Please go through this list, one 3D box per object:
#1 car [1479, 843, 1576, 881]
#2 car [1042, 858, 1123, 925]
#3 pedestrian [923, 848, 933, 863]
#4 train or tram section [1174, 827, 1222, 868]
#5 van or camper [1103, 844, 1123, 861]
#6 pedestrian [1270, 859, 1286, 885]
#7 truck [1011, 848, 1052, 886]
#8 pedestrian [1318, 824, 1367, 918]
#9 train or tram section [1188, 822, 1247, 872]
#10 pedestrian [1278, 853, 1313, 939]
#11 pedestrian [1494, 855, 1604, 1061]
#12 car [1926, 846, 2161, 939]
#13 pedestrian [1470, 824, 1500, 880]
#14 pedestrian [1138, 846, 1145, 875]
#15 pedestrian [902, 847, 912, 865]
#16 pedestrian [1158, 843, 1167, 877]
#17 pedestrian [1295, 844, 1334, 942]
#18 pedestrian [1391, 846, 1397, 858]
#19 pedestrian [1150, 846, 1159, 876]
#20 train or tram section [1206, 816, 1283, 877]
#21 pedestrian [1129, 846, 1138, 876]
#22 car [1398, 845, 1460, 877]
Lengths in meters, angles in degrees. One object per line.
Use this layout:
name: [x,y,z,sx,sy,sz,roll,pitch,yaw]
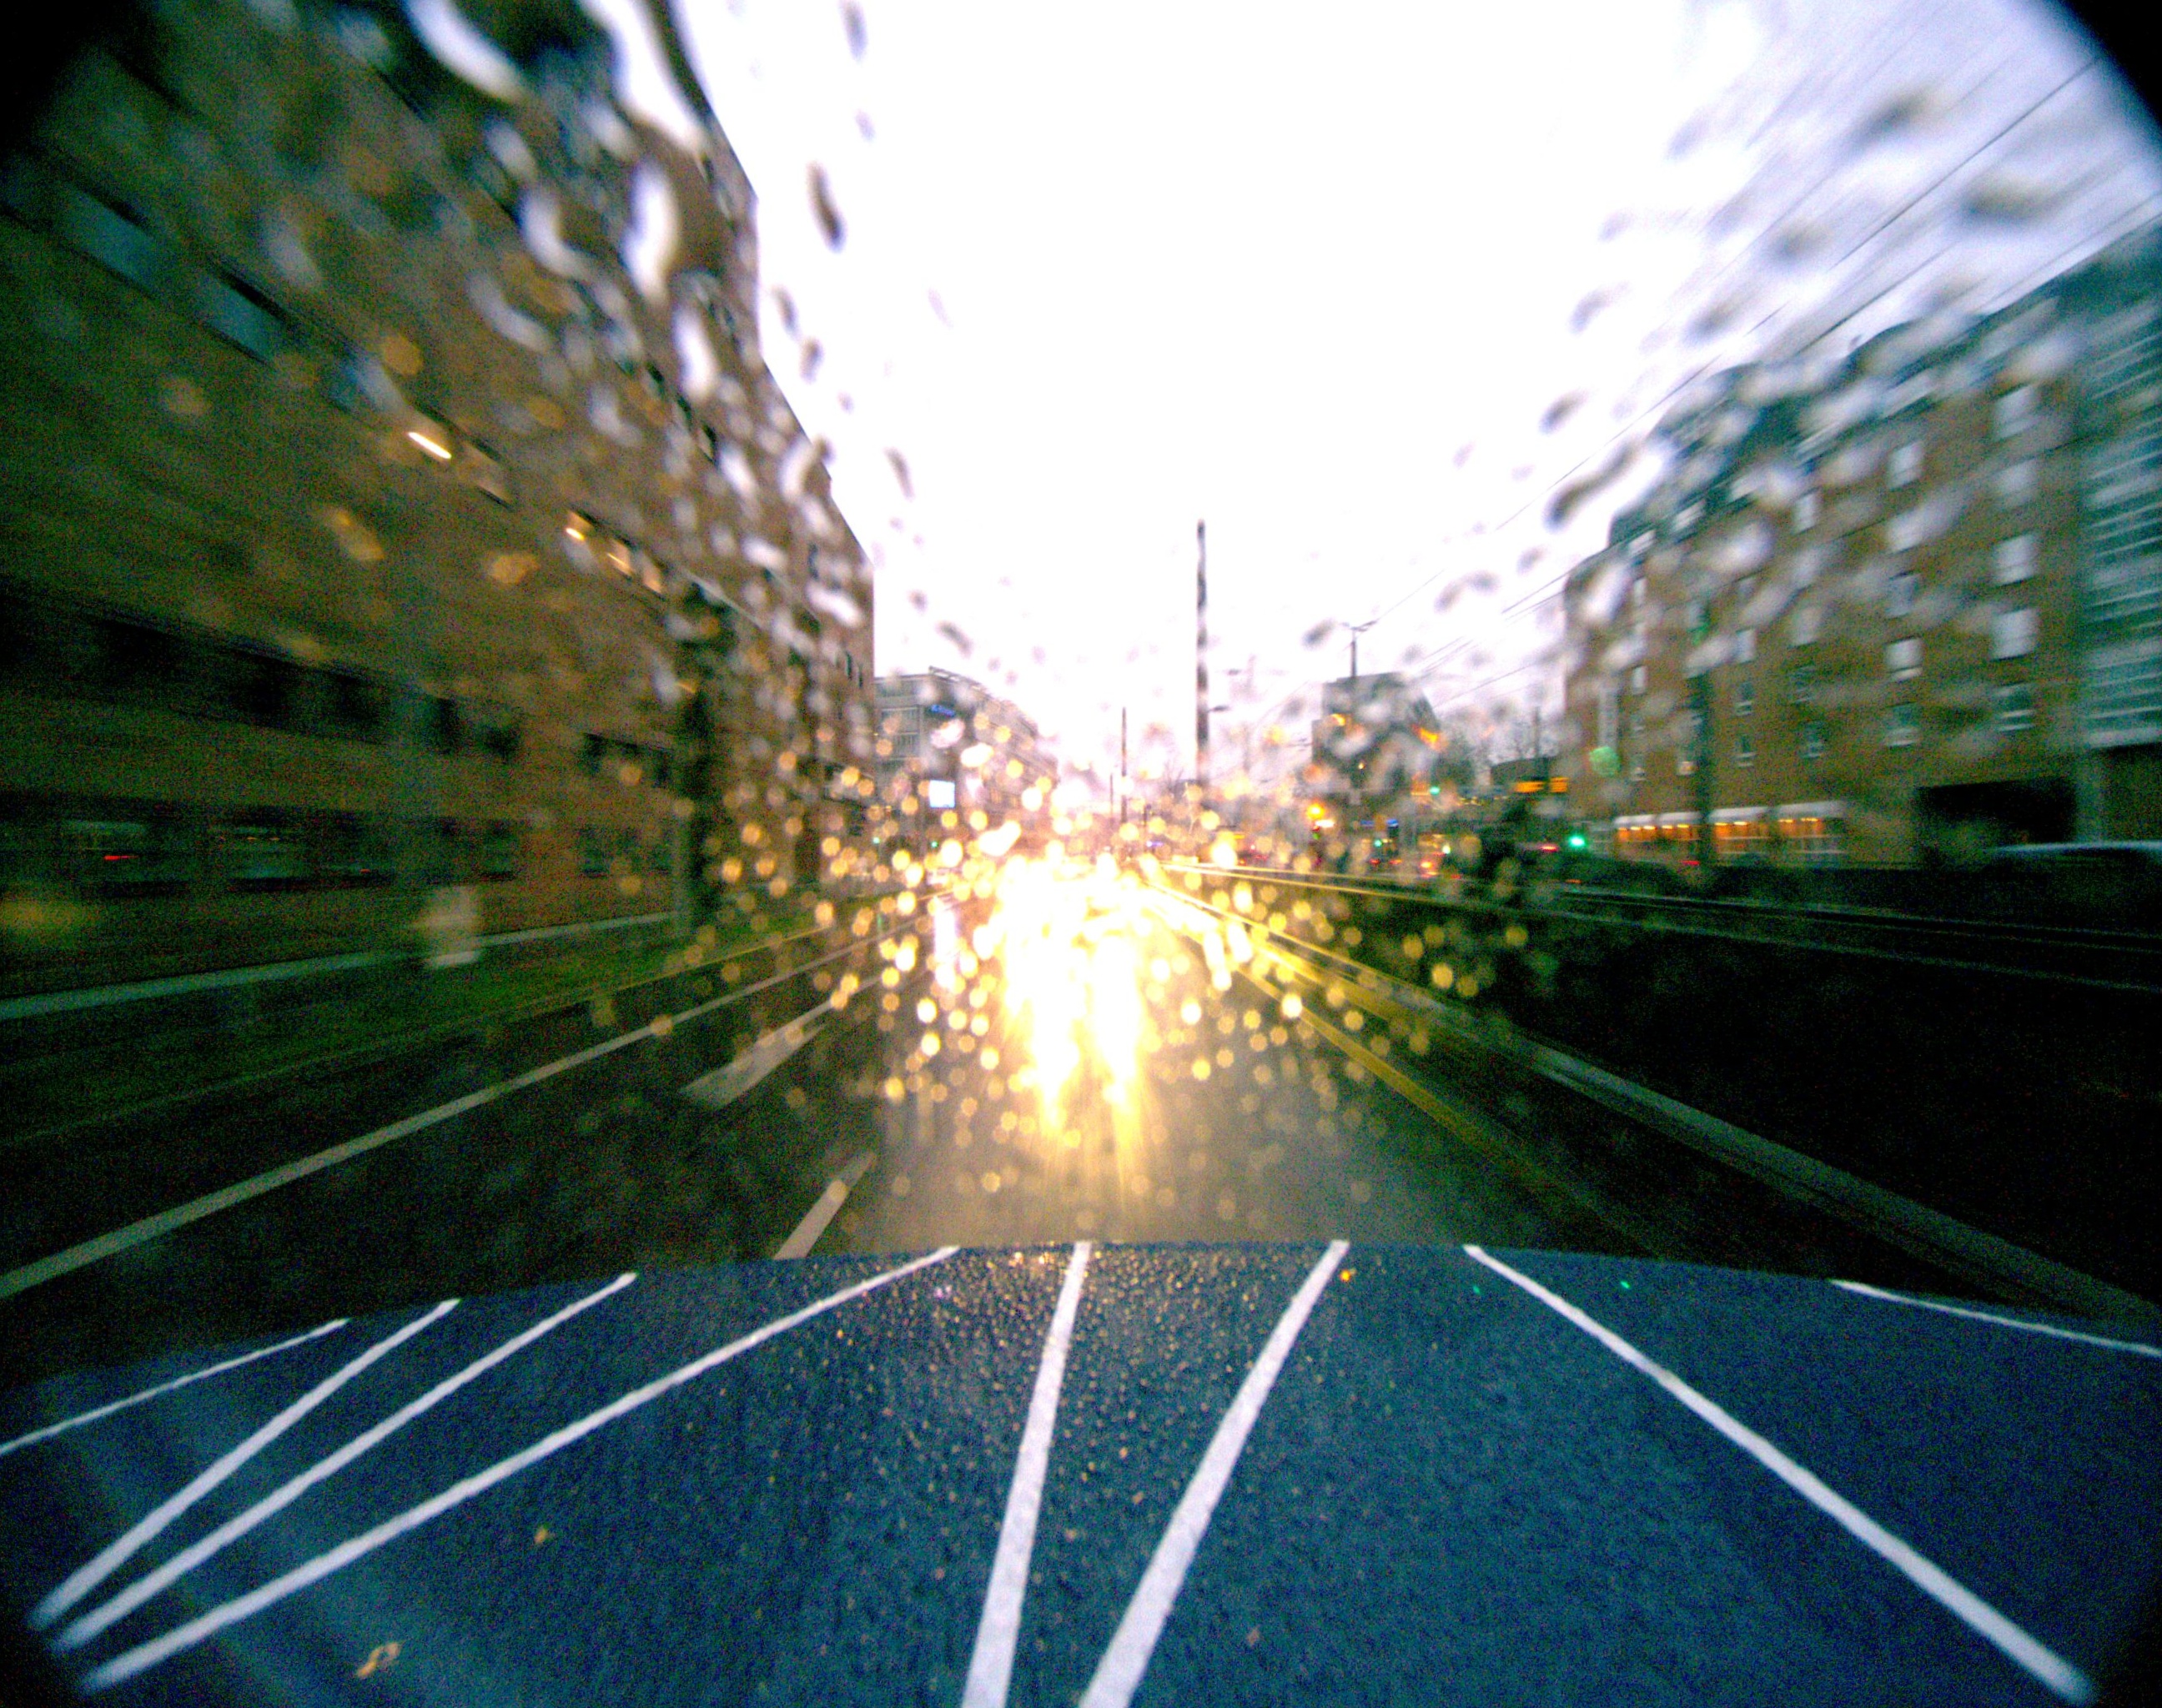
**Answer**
car: [17.290,0.277,29.624,1.686,1.346,3.545,-1,1,0]
car: [0.044,0.846,19.194,1.774,1.449,4.221,-2,0,0]
pedestrian: [-18.592,0.168,92.162,1.152,1.777,0.777,0,1,-9]
train or tram section: [11.150,-0.626,73.506,2.957,3.568,12.255,-2,0,1]
van or camper: [5.284,-0.272,123.390,2.059,2.533,5.891,-1,0,14]
pedestrian: [8.771,0.808,33.894,0.581,1.146,0.490,-2,1,2]
truck: [-2.655,0.693,41.803,1.909,1.906,4.617,-2,0,0]
pedestrian: [4.524,0.290,13.158,0.620,1.581,0.622,-1,1,-2]
train or tram section: [10.886,-0.555,61.853,2.932,3.557,11.035,-2,0,1]
pedestrian: [4.057,0.783,14.369,0.482,1.581,0.563,-1,1,-2]
pedestrian: [4.019,0.859,6.567,0.541,1.682,0.643,-1,1,-2]
car: [16.958,0.552,12.661,1.824,1.346,3.545,-1,1,0]
pedestrian: [13.723,-0.076,25.821,0.792,1.876,0.885,0,1,20]
pedestrian: [3.756,0.388,46.983,0.360,1.776,0.440,-1,1,-4]
pedestrian: [-17.588,0.228,76.682,0.802,1.800,0.649,0,1,-33]
pedestrian: [4.748,0.332,44.310,0.434,1.956,0.473,-1,1,-4]
pedestrian: [4.036,0.658,13.161,0.482,1.669,0.563,-1,1,-2]
pedestrian: [46.789,-0.299,113.510,0.726,1.699,0.695,1,1,20]
pedestrian: [4.286,0.397,44.570,0.434,1.725,0.473,-1,1,-4]
train or tram section: [10.643,-0.486,50.813,2.907,3.547,11.035,-2,0,1]
pedestrian: [3.209,0.425,46.303,0.413,1.835,0.669,-1,1,-4]
car: [17.296,0.319,37.921,1.521,1.508,3.325,-1,1,0]
